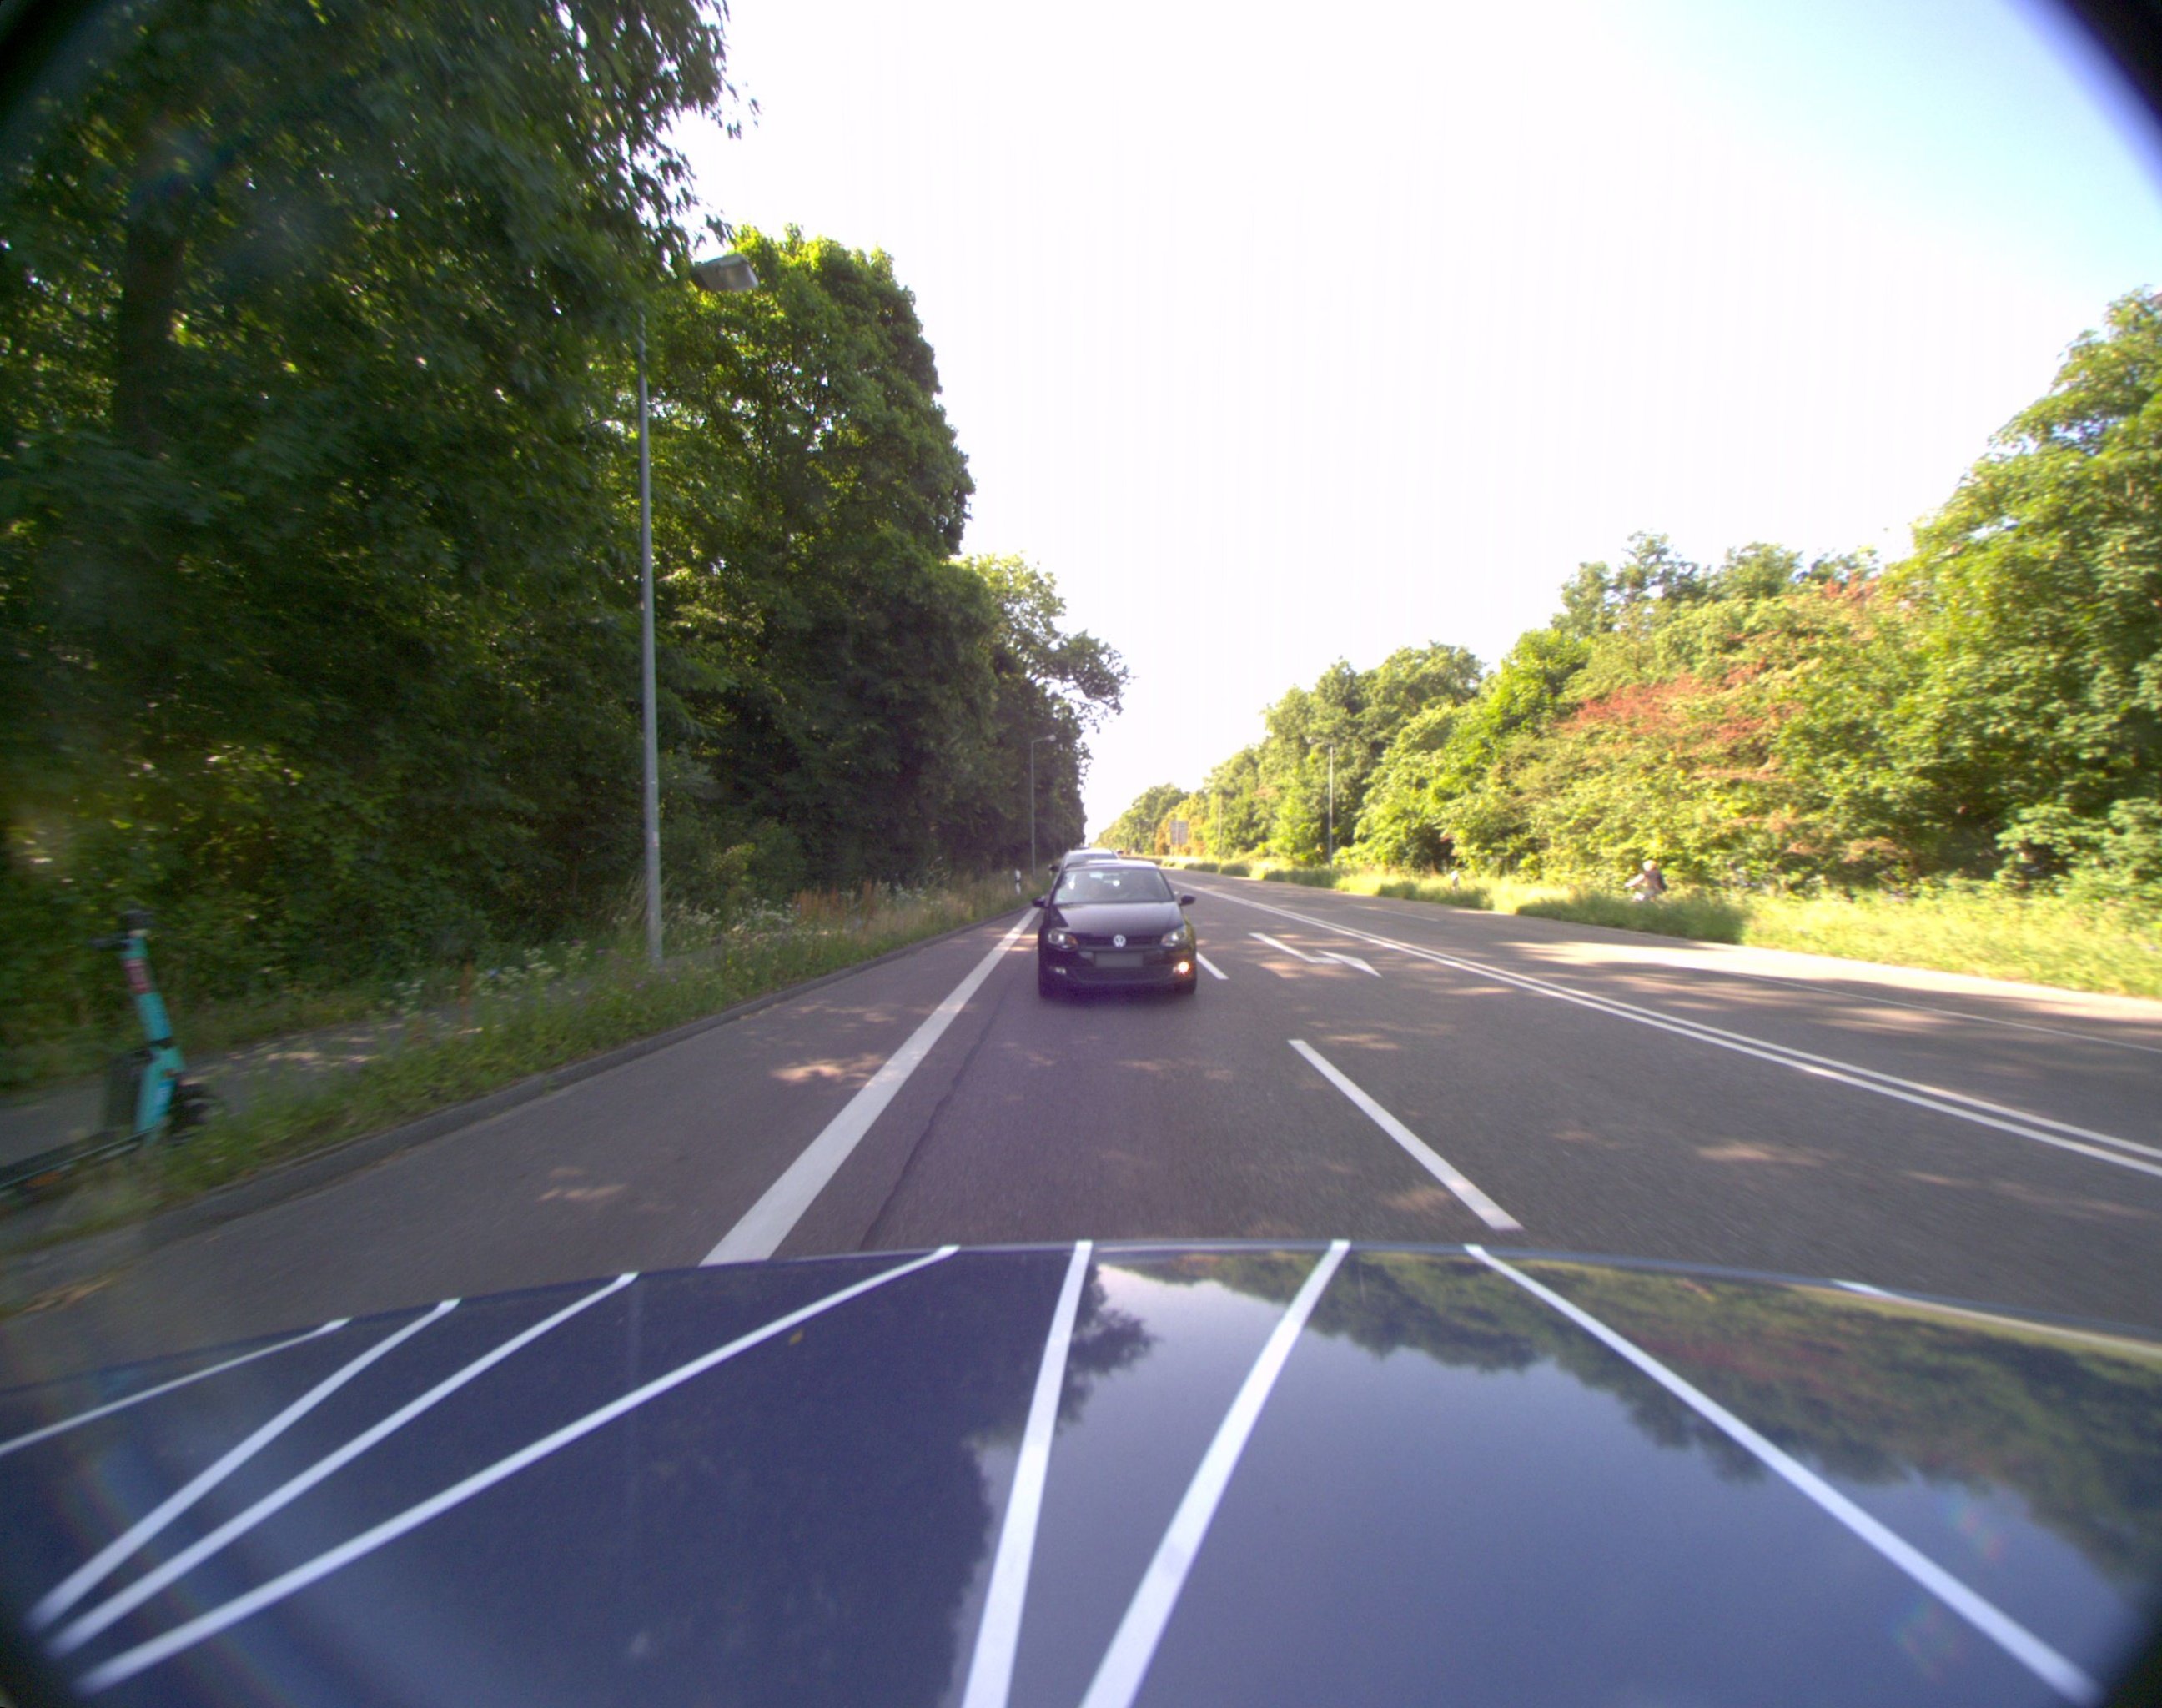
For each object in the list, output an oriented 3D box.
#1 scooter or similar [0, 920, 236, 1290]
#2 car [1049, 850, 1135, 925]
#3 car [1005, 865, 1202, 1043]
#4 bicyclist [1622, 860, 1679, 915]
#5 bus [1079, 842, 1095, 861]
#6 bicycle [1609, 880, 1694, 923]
[{"bbox_3d":[-4.359,0.988,3.183,0.401,1.299,1.328,0,1,-14],"label":"scooter or similar"},{"bbox_3d":[0.396,0.757,19.270,1.812,1.639,4.309,-2,0,5],"label":"car"},{"bbox_3d":[0.374,0.903,8.607,1.650,1.422,4.056,-2,0,5],"label":"car"},{"bbox_3d":[14.588,0.841,19.480,0.677,1.335,0.974,-2,1,-2],"label":"bicyclist"},{"bbox_3d":[1.043,-0.446,143.266,2.782,3.437,7.792,-2,1,0],"label":"bus"},{"bbox_3d":[14.599,1.191,19.513,0.677,0.951,1.913,-2,1,-2],"label":"bicycle"}]
